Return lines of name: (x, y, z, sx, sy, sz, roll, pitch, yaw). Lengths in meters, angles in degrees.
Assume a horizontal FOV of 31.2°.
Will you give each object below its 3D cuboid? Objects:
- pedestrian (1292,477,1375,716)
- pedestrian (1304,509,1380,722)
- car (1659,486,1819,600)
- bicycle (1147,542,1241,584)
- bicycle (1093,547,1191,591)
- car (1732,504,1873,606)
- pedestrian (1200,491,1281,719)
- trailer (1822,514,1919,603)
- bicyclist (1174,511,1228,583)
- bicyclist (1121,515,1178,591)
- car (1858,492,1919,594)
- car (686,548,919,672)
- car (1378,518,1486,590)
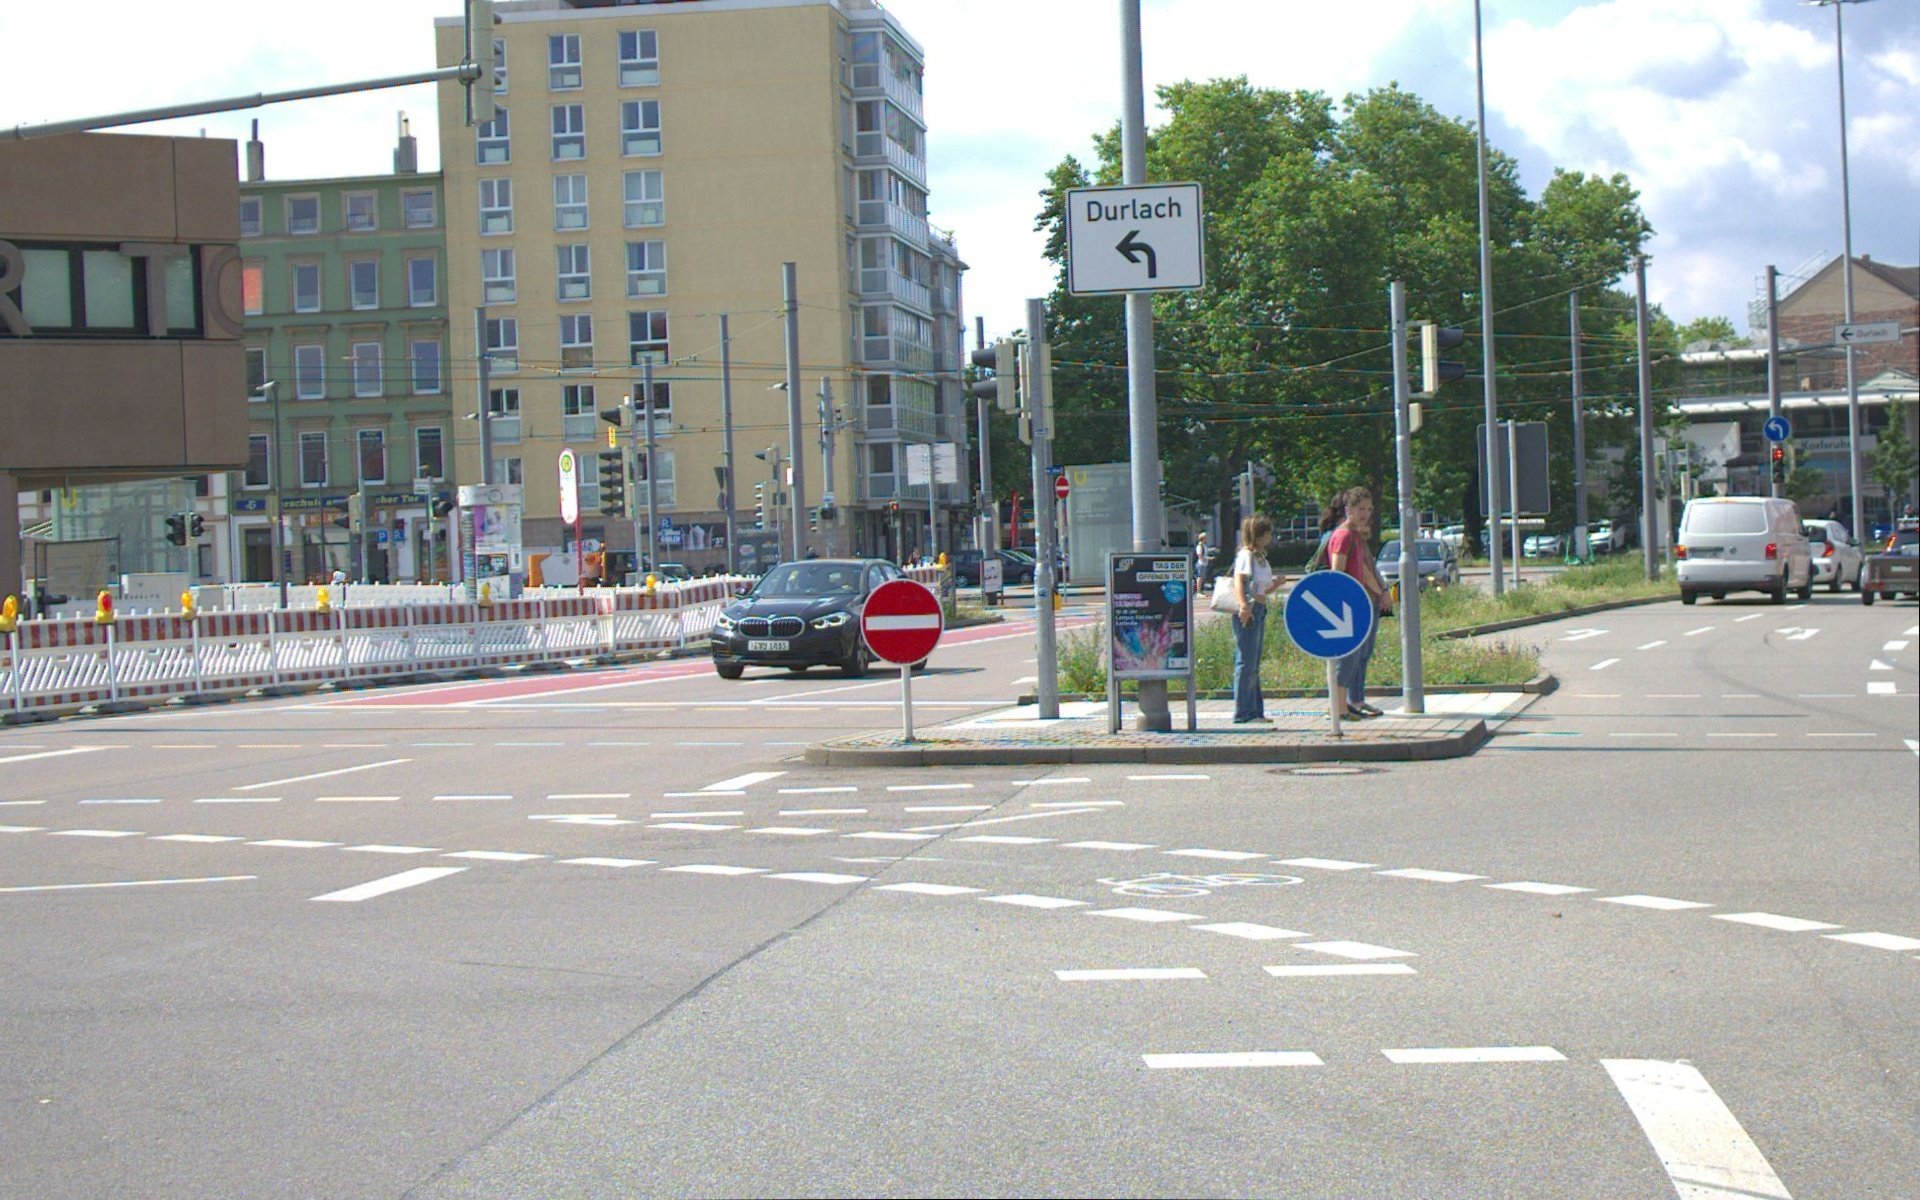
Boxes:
pedestrian: (2.753, -0.030, 25.329, 0.525, 1.727, 0.623, -2, 1, 9)
pedestrian: (3.061, 0.116, 27.492, 0.525, 1.678, 0.623, -2, 1, 9)
car: (14.506, -1.090, 63.847, 2.008, 1.960, 4.633, -2, 1, 24)
bicycle: (6.346, -1.003, 93.291, 2.381, 1.063, 0.842, -2, 1, 20)
bicycle: (4.712, -0.795, 89.012, 2.381, 1.063, 0.857, -2, 1, 20)
car: (17.471, -0.953, 71.130, 1.994, 1.932, 4.633, -2, 1, 24)
pedestrian: (2.165, 0.032, 26.513, 0.525, 1.727, 0.623, -2, 1, 9)
trailer: (16.707, -0.776, 60.985, 1.996, 1.472, 3.995, -2, 1, 25)
bicyclist: (6.528, -1.430, 93.215, 1.220, 1.903, 0.833, -2, 1, 20)
bicyclist: (4.903, -1.220, 88.933, 1.220, 1.903, 0.857, -2, 1, 20)
car: (18.225, -1.120, 64.316, 1.996, 1.820, 3.995, -2, 1, 25)
car: (-1.874, 0.084, 42.225, 1.793, 1.383, 4.225, -1, 1, 12)
car: (10.089, -1.007, 73.337, 1.663, 1.475, 4.058, 1, 2, 17)
